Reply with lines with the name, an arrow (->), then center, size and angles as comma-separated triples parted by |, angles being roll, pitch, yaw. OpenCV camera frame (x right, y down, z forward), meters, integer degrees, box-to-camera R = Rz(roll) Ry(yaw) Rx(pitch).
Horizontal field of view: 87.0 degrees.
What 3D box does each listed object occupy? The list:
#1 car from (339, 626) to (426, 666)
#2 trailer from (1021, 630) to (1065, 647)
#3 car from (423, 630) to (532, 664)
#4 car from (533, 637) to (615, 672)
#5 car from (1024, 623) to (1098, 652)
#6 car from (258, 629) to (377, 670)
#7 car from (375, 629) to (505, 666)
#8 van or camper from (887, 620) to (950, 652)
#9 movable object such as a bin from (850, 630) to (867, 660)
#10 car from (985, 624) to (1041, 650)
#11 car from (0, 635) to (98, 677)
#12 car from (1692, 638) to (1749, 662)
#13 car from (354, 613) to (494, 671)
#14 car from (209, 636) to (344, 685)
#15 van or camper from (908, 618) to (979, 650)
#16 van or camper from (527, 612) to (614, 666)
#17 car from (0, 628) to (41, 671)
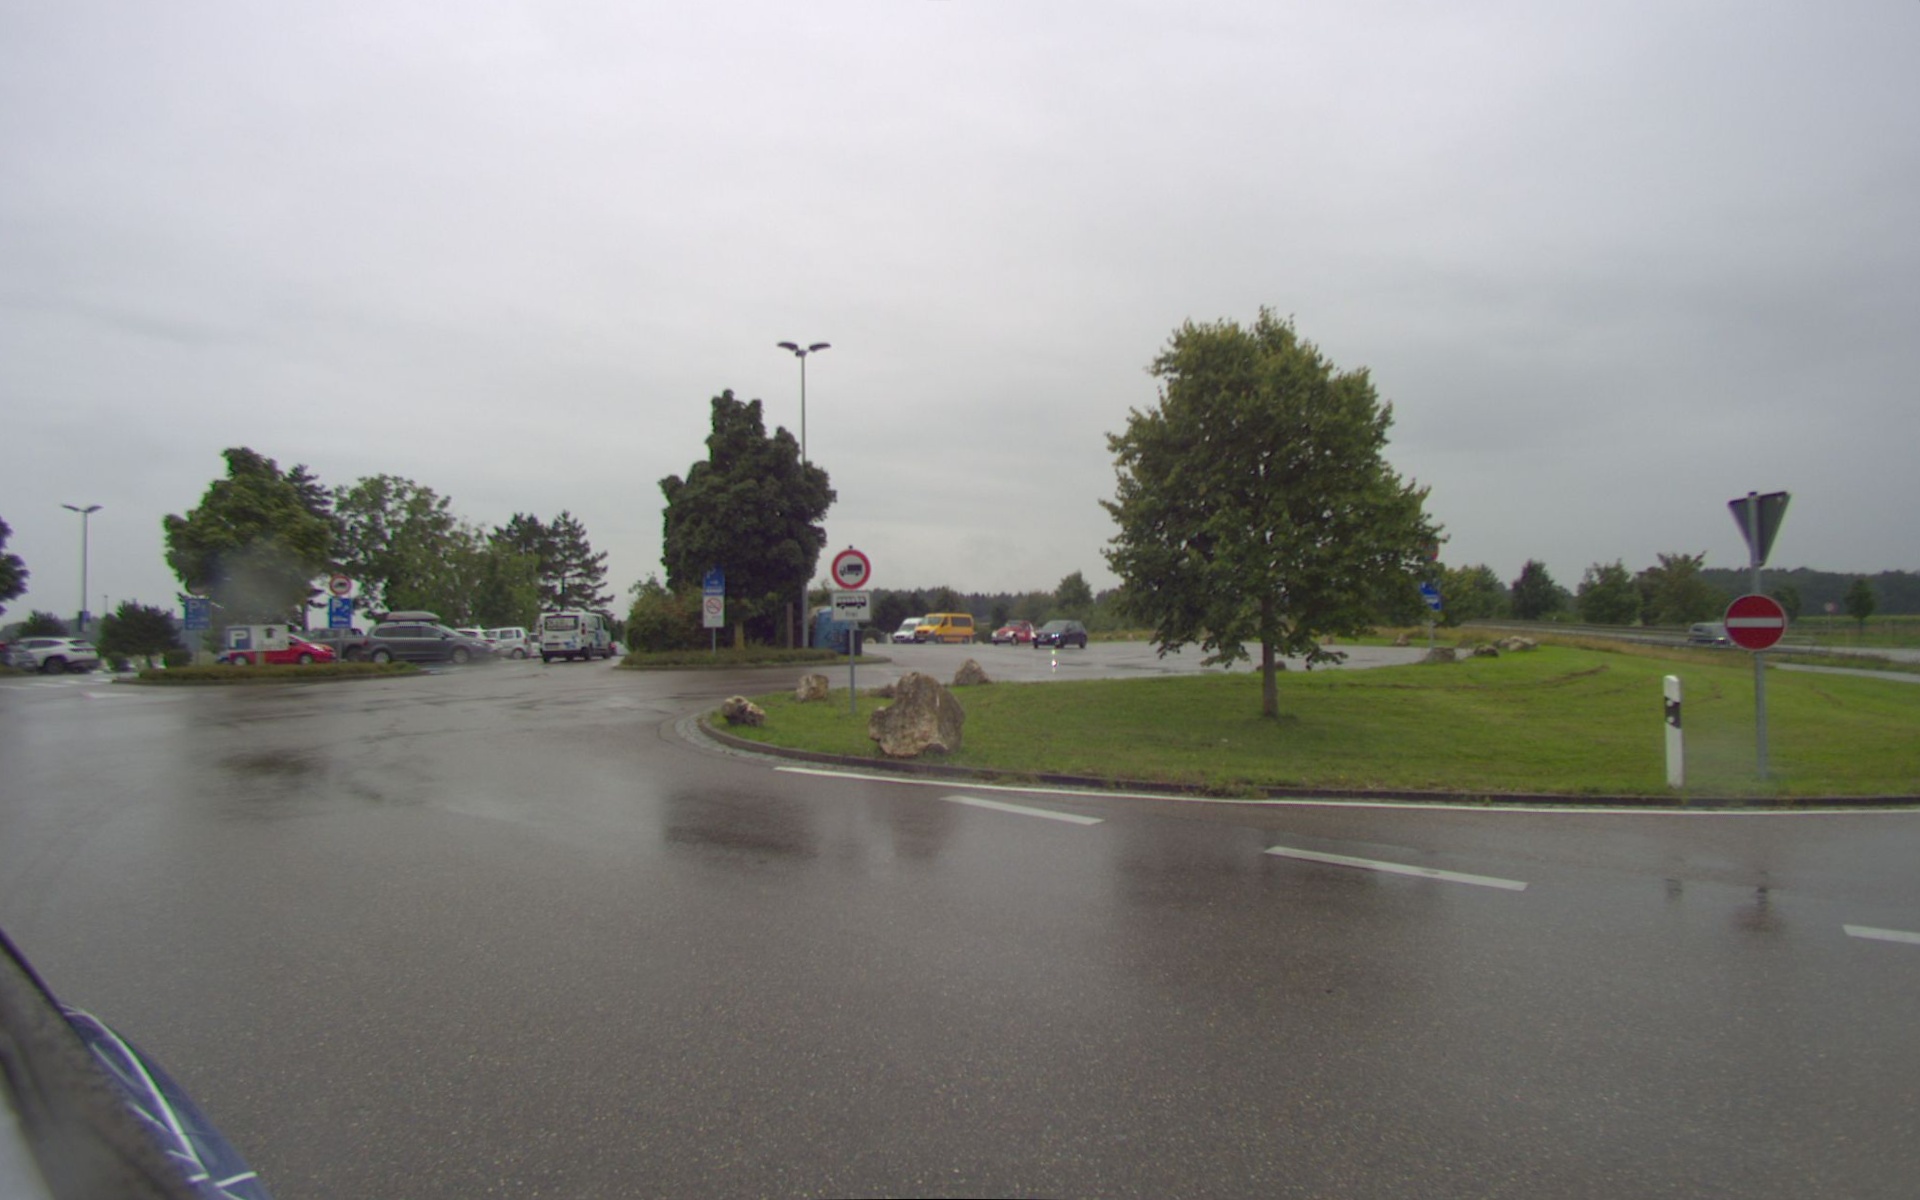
car -> -30.587, 2.413, 53.699 | 3.722, 2.029, 1.792 | -1, -2, -15
trailer -> 5.398, 2.514, 65.712 | 1.586, 1.075, 2.993 | -2, -3, 36
car -> -24.600, 2.370, 51.720 | 4.690, 1.599, 2.005 | 0, -1, -11
car -> -24.728, 3.503, 64.950 | 4.690, 2.097, 2.005 | 0, -1, -11
car -> 5.377, 1.971, 53.708 | 1.780, 1.444, 4.019 | -2, -3, 44
car -> -30.212, 2.312, 47.730 | 4.327, 1.792, 1.931 | 0, -1, -14
car -> -22.462, 2.052, 43.857 | 4.690, 1.483, 1.890 | 0, -1, -11
van or camper -> -3.700, 3.239, 91.957 | 1.994, 2.736, 6.989 | 0, -1, 33
movable object such as a bin -> -3.265, 1.437, 32.595 | 0.445, 0.946, 0.487 | 0, -2, 9
car -> 3.296, 2.293, 62.736 | 1.547, 1.567, 4.007 | -2, -2, 36
car -> -40.427, 2.432, 44.150 | 3.978, 1.706, 1.718 | 0, -1, -28
car -> 46.817, 3.058, 62.398 | 1.573, 1.464, 3.734 | -1, -2, 17
car -> -21.701, 1.679, 41.169 | 4.690, 2.205, 2.005 | 0, -1, -11
car -> -28.648, 2.503, 42.567 | 4.327, 1.900, 1.931 | 0, -1, -14
van or camper -> -1.163, 2.536, 75.859 | 2.128, 2.264, 6.346 | -1, -2, 33
van or camper -> -16.220, 1.573, 42.441 | 2.160, 1.960, 5.205 | 0, 1, -7
car -> -40.502, 2.040, 41.372 | 3.983, 1.706, 1.803 | 0, -1, -10
